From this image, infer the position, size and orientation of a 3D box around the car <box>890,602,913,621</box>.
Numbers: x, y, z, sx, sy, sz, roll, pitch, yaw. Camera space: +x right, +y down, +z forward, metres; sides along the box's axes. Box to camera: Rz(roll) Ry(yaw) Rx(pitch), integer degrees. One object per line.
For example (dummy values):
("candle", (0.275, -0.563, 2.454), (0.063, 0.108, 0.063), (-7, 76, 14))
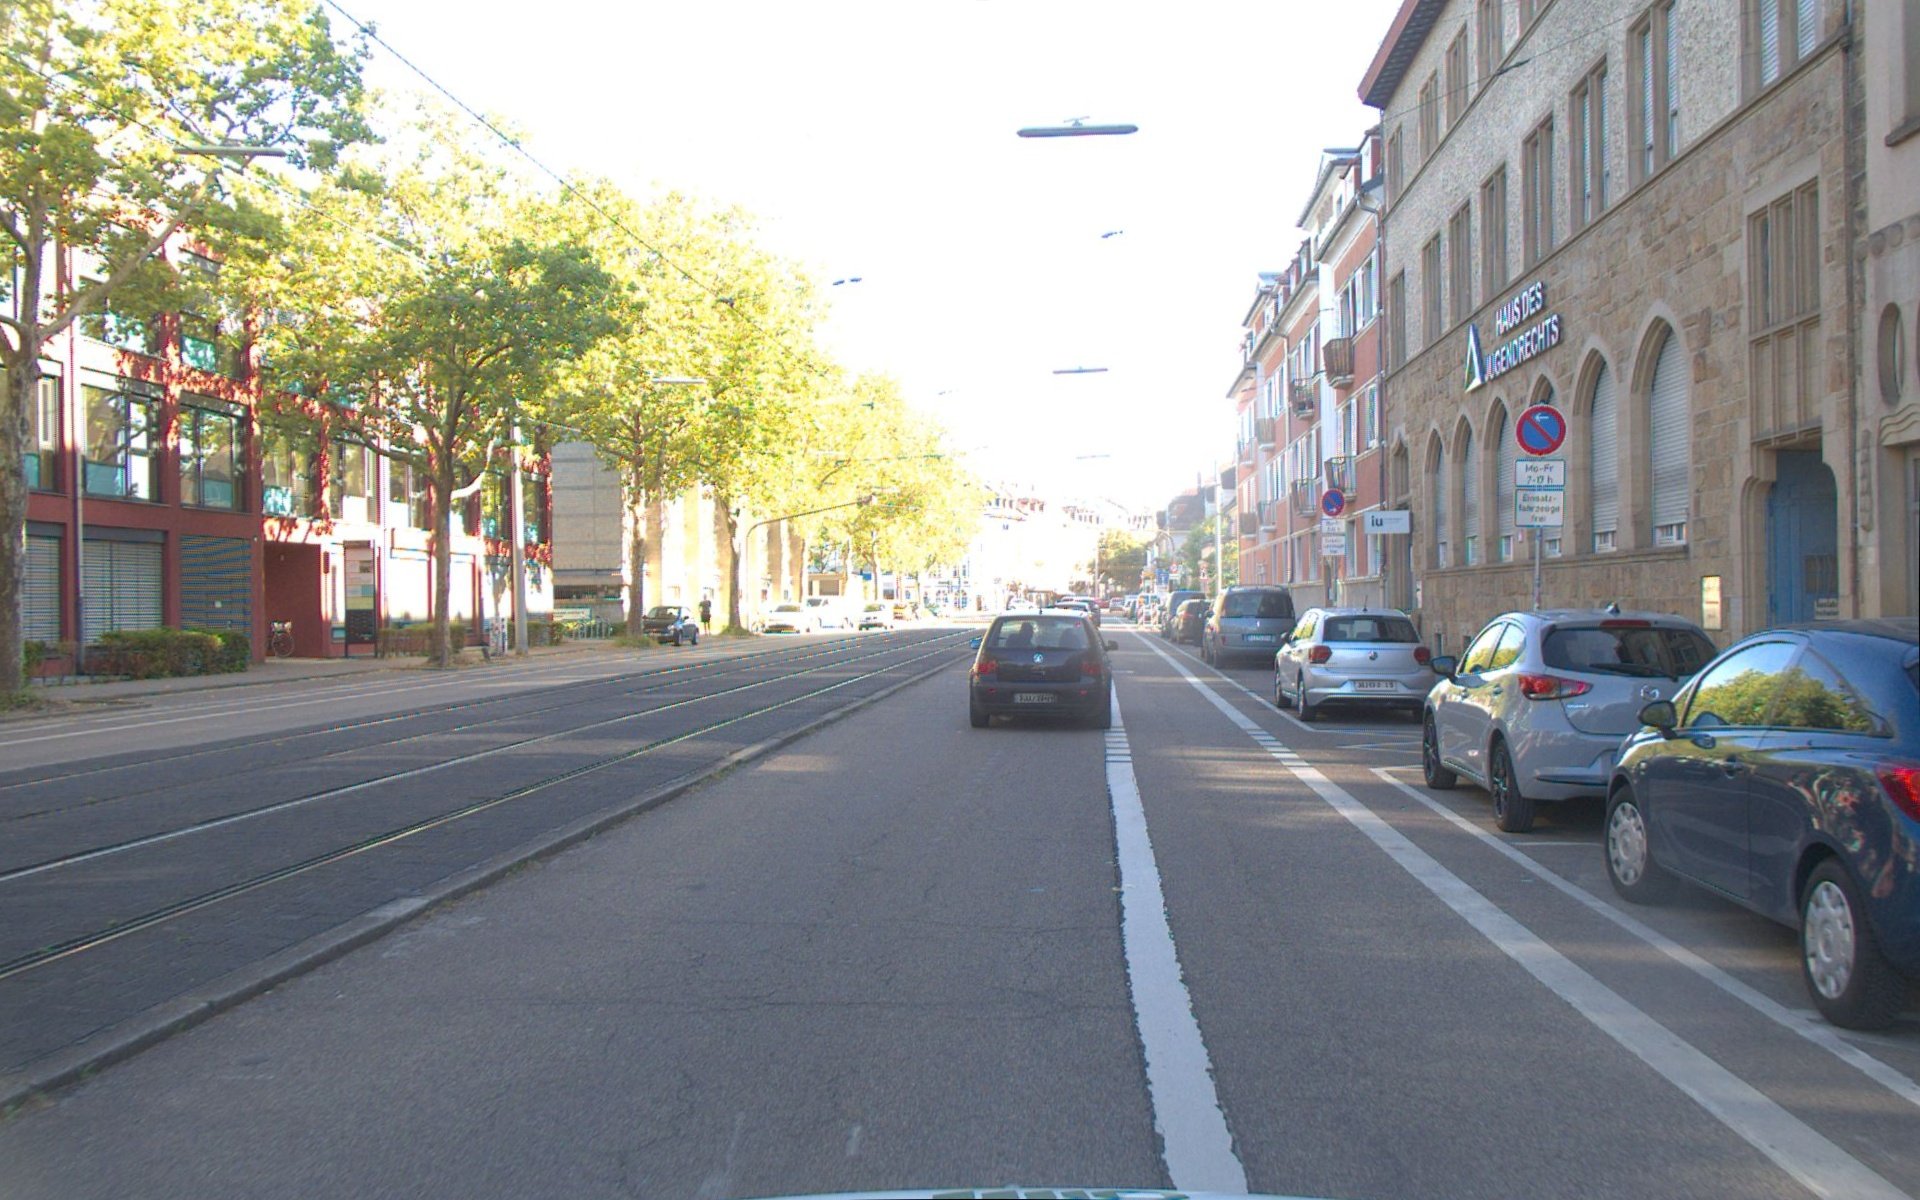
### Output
("car", (-4.828, 0.979, 137.418), (1.537, 1.560, 3.574), (-1, -1, 4))

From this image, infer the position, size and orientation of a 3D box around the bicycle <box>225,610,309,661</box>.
("bicycle", (-18.625, 0.956, 44.461), (2.018, 1.294, 0.619), (1, 1, 4))

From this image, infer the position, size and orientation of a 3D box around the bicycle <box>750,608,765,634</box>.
("bicycle", (-9.907, 1.001, 80.860), (0.569, 1.230, 1.653), (1, 0, -1))

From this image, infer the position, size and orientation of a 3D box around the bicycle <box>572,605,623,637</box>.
("bicycle", (-15.129, 0.866, 68.986), (1.966, 1.301, 0.664), (1, 0, 5))

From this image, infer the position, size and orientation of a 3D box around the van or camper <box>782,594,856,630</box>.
("van or camper", (-8.184, 0.669, 96.732), (2.019, 1.984, 5.187), (1, 1, 24))

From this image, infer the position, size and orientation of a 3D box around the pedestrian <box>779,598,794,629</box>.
("pedestrian", (-10.688, 0.836, 102.054), (0.780, 1.852, 0.671), (1, 0, 4))

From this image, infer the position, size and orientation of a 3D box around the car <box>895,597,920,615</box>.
("car", (-4.678, 0.516, 146.648), (1.755, 1.491, 3.838), (2, 0, 4))

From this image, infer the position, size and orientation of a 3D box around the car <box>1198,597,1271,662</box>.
("car", (6.975, 0.718, 42.281), (1.597, 1.538, 3.719), (1, 0, 6))

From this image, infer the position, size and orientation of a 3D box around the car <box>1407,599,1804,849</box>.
("car", (4.617, 0.771, 12.492), (1.716, 1.527, 4.199), (1, 0, 6))

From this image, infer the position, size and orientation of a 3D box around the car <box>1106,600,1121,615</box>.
("car", (17.181, 0.835, 184.790), (1.633, 1.626, 3.652), (-1, 0, 4))

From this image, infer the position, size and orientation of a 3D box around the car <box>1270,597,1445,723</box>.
("car", (5.333, 0.739, 22.664), (1.677, 1.527, 4.228), (1, 0, 5))

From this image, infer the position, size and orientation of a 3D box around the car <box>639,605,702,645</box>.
("car", (-10.857, 0.952, 62.270), (1.475, 1.479, 3.465), (0, -1, 5))

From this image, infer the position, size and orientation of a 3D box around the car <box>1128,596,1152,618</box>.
("car", (13.094, 0.470, 120.611), (1.626, 1.552, 4.038), (-1, 0, 4))

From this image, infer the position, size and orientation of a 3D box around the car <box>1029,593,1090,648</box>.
("car", (3.069, 0.591, 50.407), (1.711, 1.564, 3.894), (-1, 0, 5))

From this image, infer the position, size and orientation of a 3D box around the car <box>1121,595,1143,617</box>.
("car", (14.847, 0.526, 143.173), (1.779, 1.830, 4.002), (-1, 0, 4))

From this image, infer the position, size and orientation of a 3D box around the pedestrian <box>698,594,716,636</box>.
("pedestrian", (-11.661, 0.699, 76.248), (0.770, 1.902, 0.669), (1, 0, -10))

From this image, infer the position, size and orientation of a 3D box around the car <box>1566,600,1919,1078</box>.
("car", (3.972, 0.757, 6.980), (1.620, 1.508, 4.002), (0, 0, 4))

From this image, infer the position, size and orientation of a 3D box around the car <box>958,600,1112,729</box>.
("car", (0.952, 0.734, 20.651), (1.712, 1.399, 4.002), (-1, 0, 3))

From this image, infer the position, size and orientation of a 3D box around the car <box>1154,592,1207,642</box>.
("car", (8.724, 0.636, 65.569), (1.667, 1.842, 4.273), (-2, 0, 3))

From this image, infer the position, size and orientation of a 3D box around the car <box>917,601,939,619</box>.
("car", (-3.224, 1.004, 166.213), (1.844, 1.698, 3.806), (1, 0, 3))

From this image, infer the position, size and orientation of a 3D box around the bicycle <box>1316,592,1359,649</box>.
("bicycle", (8.049, 0.423, 35.345), (0.504, 1.159, 2.260), (-2, 0, 4))

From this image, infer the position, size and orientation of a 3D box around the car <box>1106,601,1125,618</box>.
("car", (13.030, 0.813, 138.647), (1.547, 1.399, 4.002), (-1, 0, 4))

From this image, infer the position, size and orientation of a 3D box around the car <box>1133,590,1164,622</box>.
("car", (11.499, 0.351, 100.904), (1.722, 1.870, 3.549), (1, 0, 4))

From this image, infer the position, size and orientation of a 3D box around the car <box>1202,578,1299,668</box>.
("car", (6.512, 0.479, 37.462), (1.716, 1.888, 4.818), (0, 0, 5))

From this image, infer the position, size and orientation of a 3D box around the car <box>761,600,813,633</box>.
("car", (-9.018, 0.833, 86.405), (1.969, 1.600, 4.695), (1, 1, 3))

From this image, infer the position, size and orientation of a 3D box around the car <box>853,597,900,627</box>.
("car", (-4.501, 0.640, 89.678), (1.715, 1.544, 4.074), (-3, 0, 8))

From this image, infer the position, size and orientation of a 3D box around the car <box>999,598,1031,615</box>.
("car", (6.841, 0.795, 206.371), (3.904, 2.049, 2.001), (1, 0, 2))

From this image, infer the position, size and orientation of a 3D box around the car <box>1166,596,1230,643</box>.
("car", (8.183, 0.630, 57.200), (1.717, 1.538, 4.764), (1, 0, 2))

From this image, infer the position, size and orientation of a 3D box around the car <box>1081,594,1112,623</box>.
("car", (7.370, 0.440, 89.546), (1.601, 1.498, 3.731), (-1, 0, 4))
